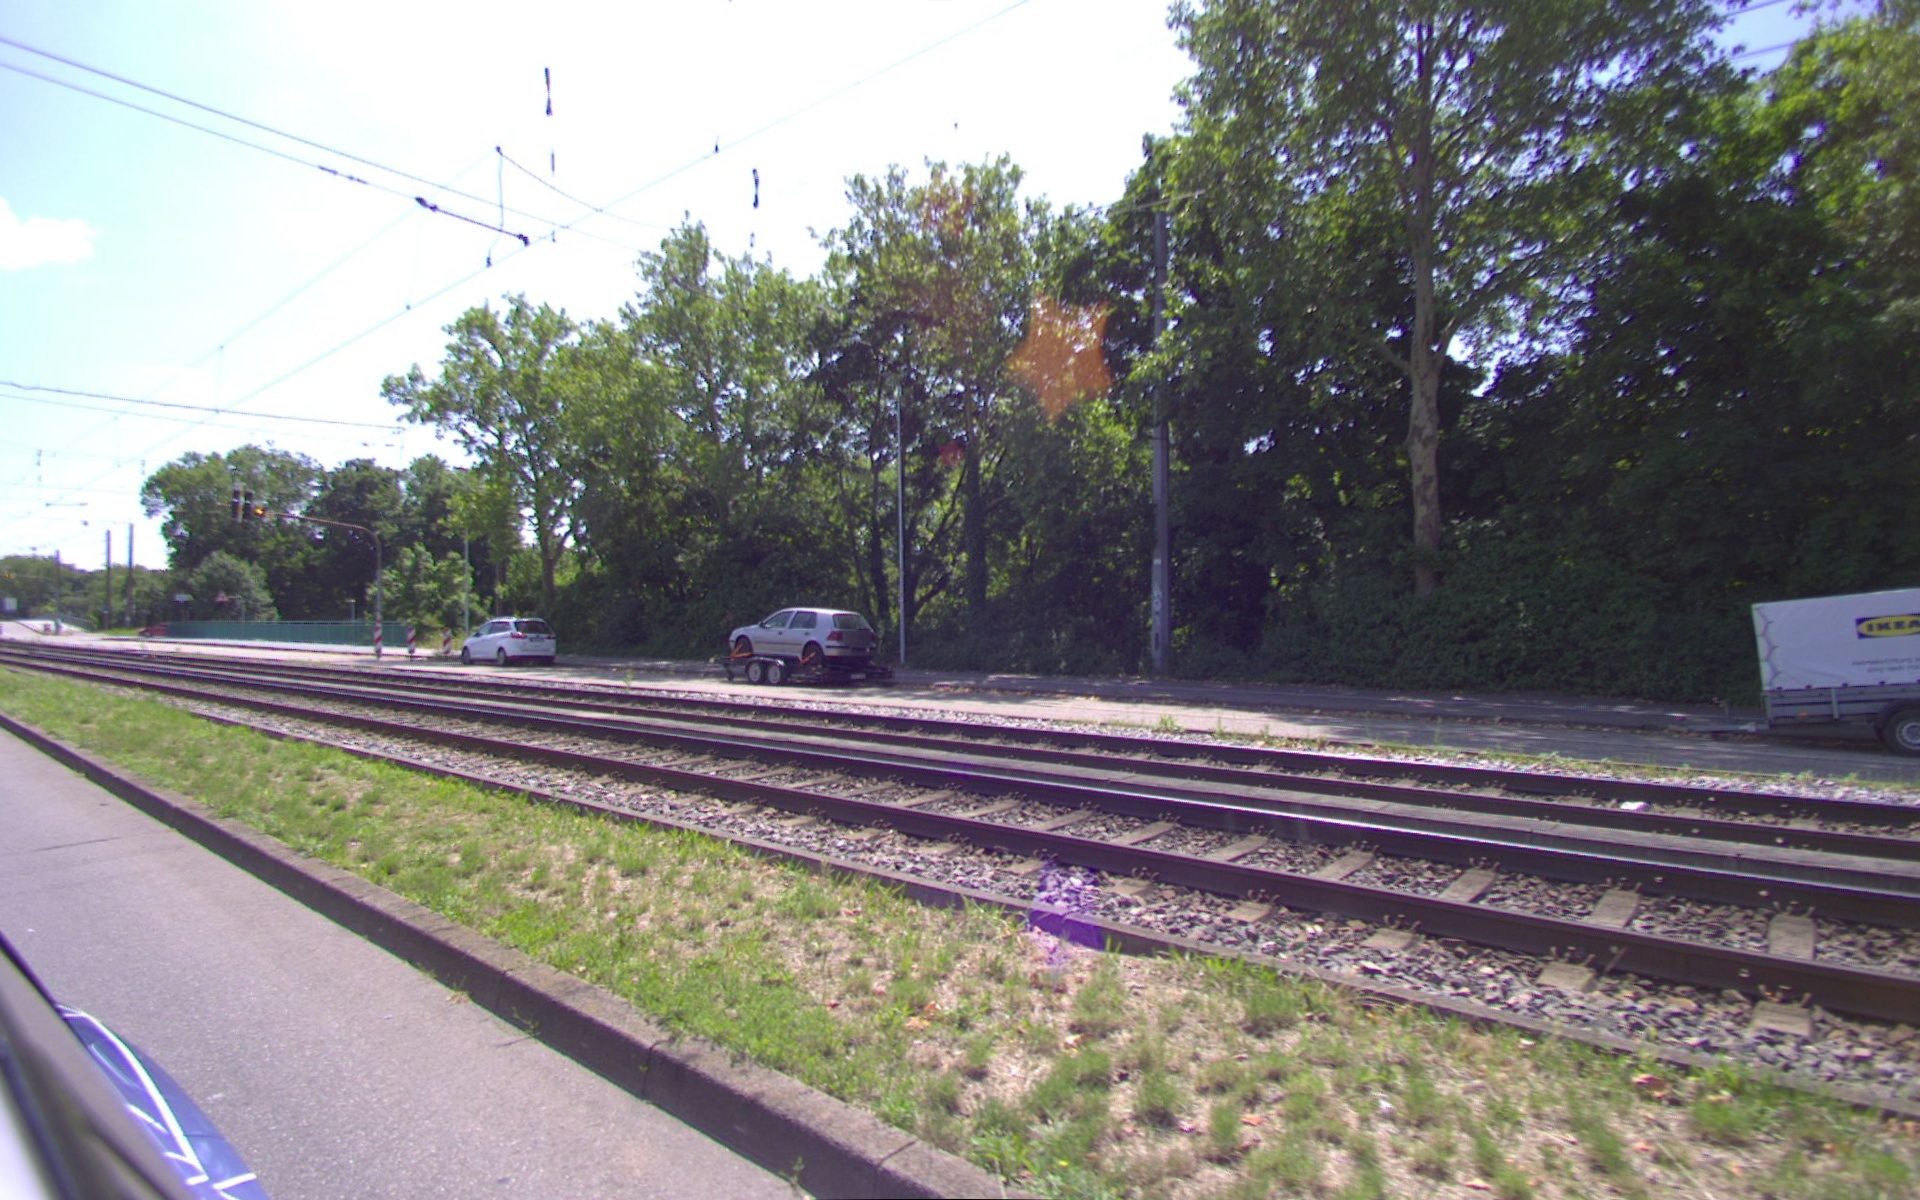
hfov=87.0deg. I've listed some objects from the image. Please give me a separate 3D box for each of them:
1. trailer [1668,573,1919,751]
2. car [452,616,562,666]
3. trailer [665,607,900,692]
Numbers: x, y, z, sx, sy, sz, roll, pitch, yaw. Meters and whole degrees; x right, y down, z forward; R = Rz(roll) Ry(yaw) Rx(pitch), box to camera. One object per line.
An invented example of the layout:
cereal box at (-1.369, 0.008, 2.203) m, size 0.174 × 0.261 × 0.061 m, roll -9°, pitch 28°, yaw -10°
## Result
trailer at (11.126, 0.705, 12.394) m, size 3.911 × 2.029 × 1.594 m, roll -2°, pitch -1°, yaw 39°
car at (-15.942, 1.454, 35.499) m, size 4.612 × 1.643 × 1.702 m, roll -3°, pitch -2°, yaw 40°
trailer at (-4.569, 1.169, 25.483) m, size 5.952 × 1.903 × 2.439 m, roll -1°, pitch -1°, yaw 37°
